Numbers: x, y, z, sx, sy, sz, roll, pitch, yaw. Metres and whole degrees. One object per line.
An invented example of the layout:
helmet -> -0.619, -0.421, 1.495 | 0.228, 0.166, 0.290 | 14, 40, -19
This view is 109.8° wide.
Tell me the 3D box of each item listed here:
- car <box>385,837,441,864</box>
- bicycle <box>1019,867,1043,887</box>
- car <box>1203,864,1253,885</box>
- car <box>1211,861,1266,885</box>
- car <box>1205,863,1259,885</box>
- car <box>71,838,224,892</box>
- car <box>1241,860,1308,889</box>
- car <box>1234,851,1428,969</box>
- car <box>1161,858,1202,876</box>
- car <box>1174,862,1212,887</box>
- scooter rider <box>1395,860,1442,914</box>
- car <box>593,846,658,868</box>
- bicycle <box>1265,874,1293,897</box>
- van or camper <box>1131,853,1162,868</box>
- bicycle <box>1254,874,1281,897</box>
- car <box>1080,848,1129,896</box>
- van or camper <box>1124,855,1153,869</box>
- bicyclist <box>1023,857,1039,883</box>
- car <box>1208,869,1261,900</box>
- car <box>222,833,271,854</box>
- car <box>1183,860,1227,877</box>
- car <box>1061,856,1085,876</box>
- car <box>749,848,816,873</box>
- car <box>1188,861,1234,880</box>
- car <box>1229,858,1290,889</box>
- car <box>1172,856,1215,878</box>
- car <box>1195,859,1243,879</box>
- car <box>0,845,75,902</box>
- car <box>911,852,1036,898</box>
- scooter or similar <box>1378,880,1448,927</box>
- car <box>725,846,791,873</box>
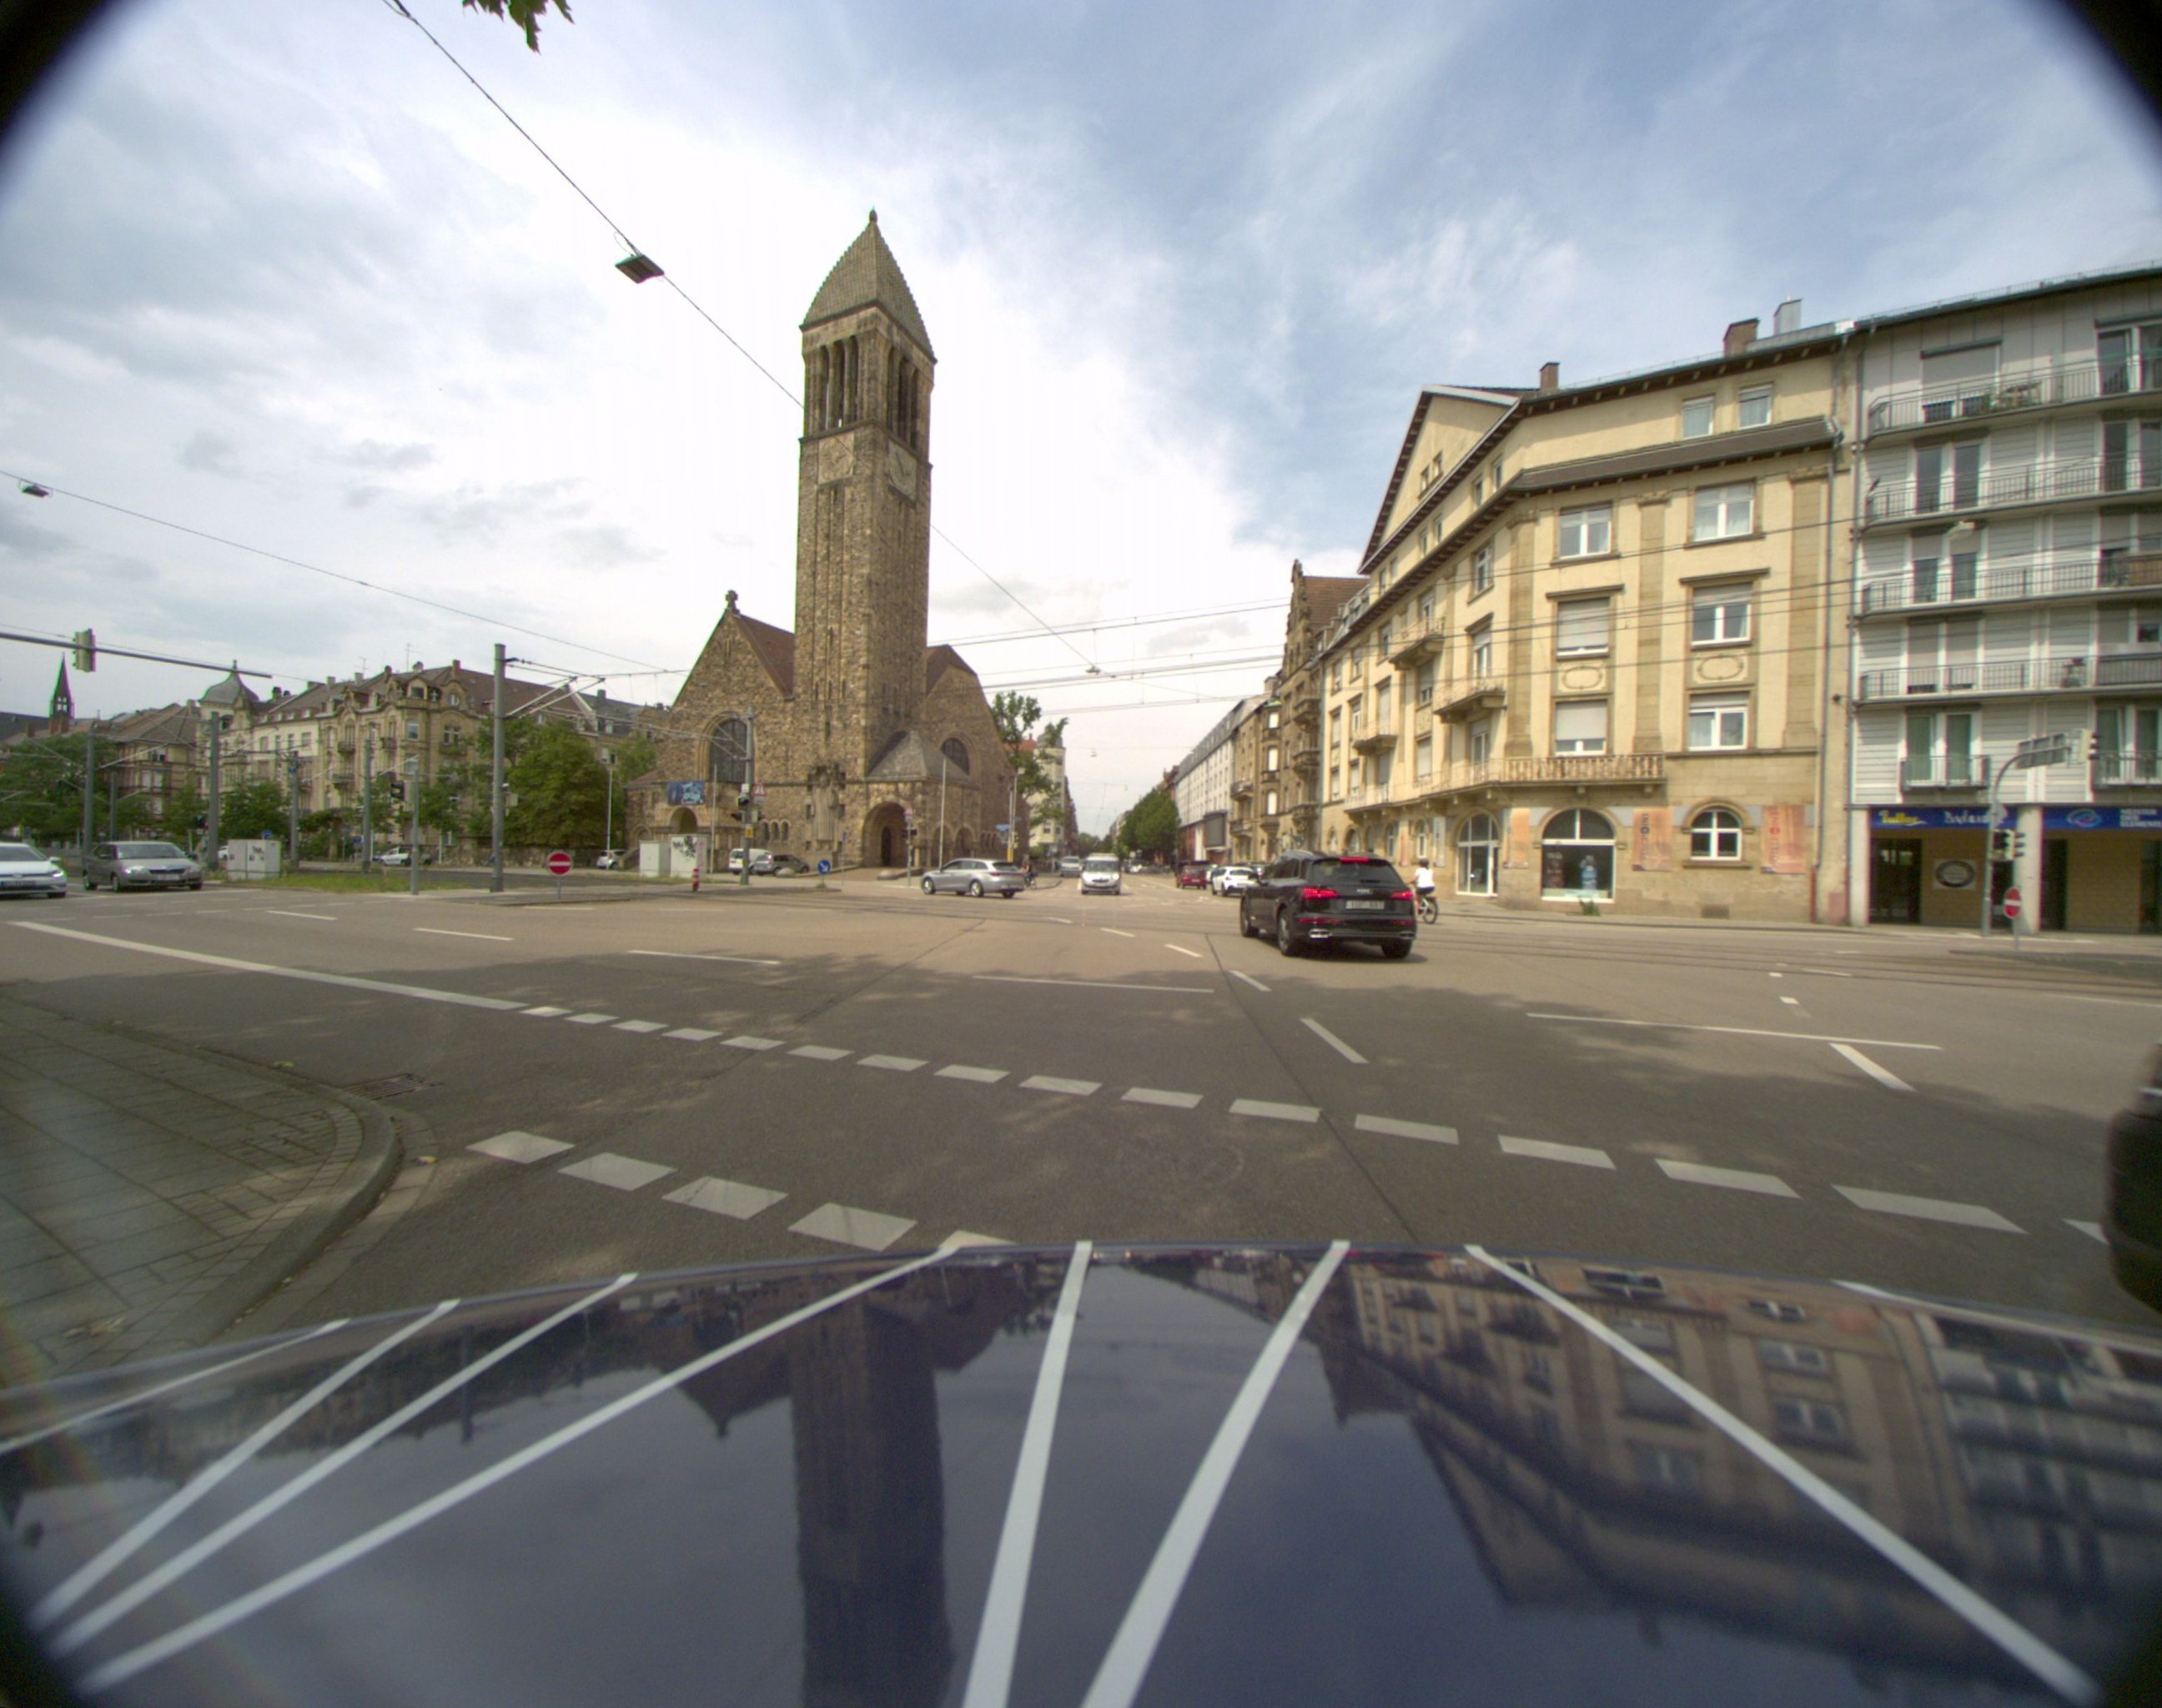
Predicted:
car -> -53.955, -0.275, 61.371 | 3.989, 2.001, 2.004 | 1, 0, 25
bicycle -> -2.830, 1.310, 43.094 | 0.597, 1.079, 1.815 | -1, 0, 23
car -> 11.862, 1.635, 61.261 | 3.835, 1.526, 1.755 | -1, -2, -34
car -> 11.377, 1.372, 54.728 | 3.835, 1.526, 1.755 | -1, -2, -38
car -> 11.449, 1.510, 57.533 | 3.835, 1.526, 1.755 | -1, -2, -34
car -> -28.122, 0.310, 22.886 | 4.277, 1.502, 1.843 | 1, -1, 24
car -> 11.720, 1.225, 45.917 | 4.044, 1.579, 1.755 | -1, -2, -38
car -> 3.924, 0.804, 12.784 | 1.827, 1.637, 4.428 | 0, -1, 0
car -> 9.988, 1.273, 75.504 | 3.835, 1.675, 1.755 | -1, -2, -34
car -> 7.381, 1.333, 50.417 | 1.768, 1.515, 4.000 | 3, 0, -1
scooter rider -> 8.961, 0.858, 20.204 | 0.741, 1.368, 1.087 | 1, -1, 1
car -> -35.965, 0.259, 60.115 | 1.995, 1.631, 3.962 | 1, 0, 25
bicycle -> 10.578, 1.688, 40.650 | 1.345, 1.185, 0.397 | -1, 0, -6
van or camper -> 8.980, 0.853, 104.819 | 3.998, 2.002, 1.999 | 1, 0, -2
bicycle -> 10.156, 1.711, 41.421 | 1.345, 1.185, 0.397 | -2, 0, -1
car -> 1.083, 0.813, 35.262 | 2.082, 2.038, 4.681 | 1, 0, 2
van or camper -> 8.563, 1.214, 113.487 | 4.000, 2.002, 1.999 | 1, 0, -8
bicyclist -> -2.840, 0.897, 43.068 | 0.587, 1.488, 0.841 | -1, 0, 24
car -> 7.629, 1.475, 38.120 | 1.739, 1.423, 4.241 | 1, -1, -1
car -> -82.415, -1.046, 75.054 | 3.990, 2.002, 2.004 | 1, 0, 23
car -> 11.464, 1.323, 70.079 | 3.836, 1.526, 1.755 | 2, -1, -34
car -> -0.728, 1.129, 73.627 | 2.082, 1.852, 4.681 | 1, 0, 2
car -> -20.513, 0.471, 52.357 | 1.995, 1.641, 4.008 | 1, 0, 25
car -> 11.502, 1.438, 67.296 | 3.835, 1.526, 1.755 | -1, -2, -34
car -> 11.512, 1.236, 48.871 | 3.835, 1.808, 1.755 | -1, -2, -38
car -> 10.811, 1.236, 72.995 | 3.835, 1.882, 1.755 | -1, -2, -34
car -> 11.626, 1.285, 63.897 | 3.835, 1.526, 1.755 | -1, -2, -34
car -> -28.202, 0.462, 19.761 | 4.276, 1.375, 1.843 | 1, -1, 29
car -> -4.113, 0.753, 28.555 | 4.833, 1.515, 1.773 | 1, -1, 39
scooter or similar -> 8.969, 1.297, 20.678 | 0.741, 1.131, 2.689 | 1, -1, 1
car -> -22.904, 0.406, 53.996 | 1.995, 1.870, 3.962 | 1, 0, 25
